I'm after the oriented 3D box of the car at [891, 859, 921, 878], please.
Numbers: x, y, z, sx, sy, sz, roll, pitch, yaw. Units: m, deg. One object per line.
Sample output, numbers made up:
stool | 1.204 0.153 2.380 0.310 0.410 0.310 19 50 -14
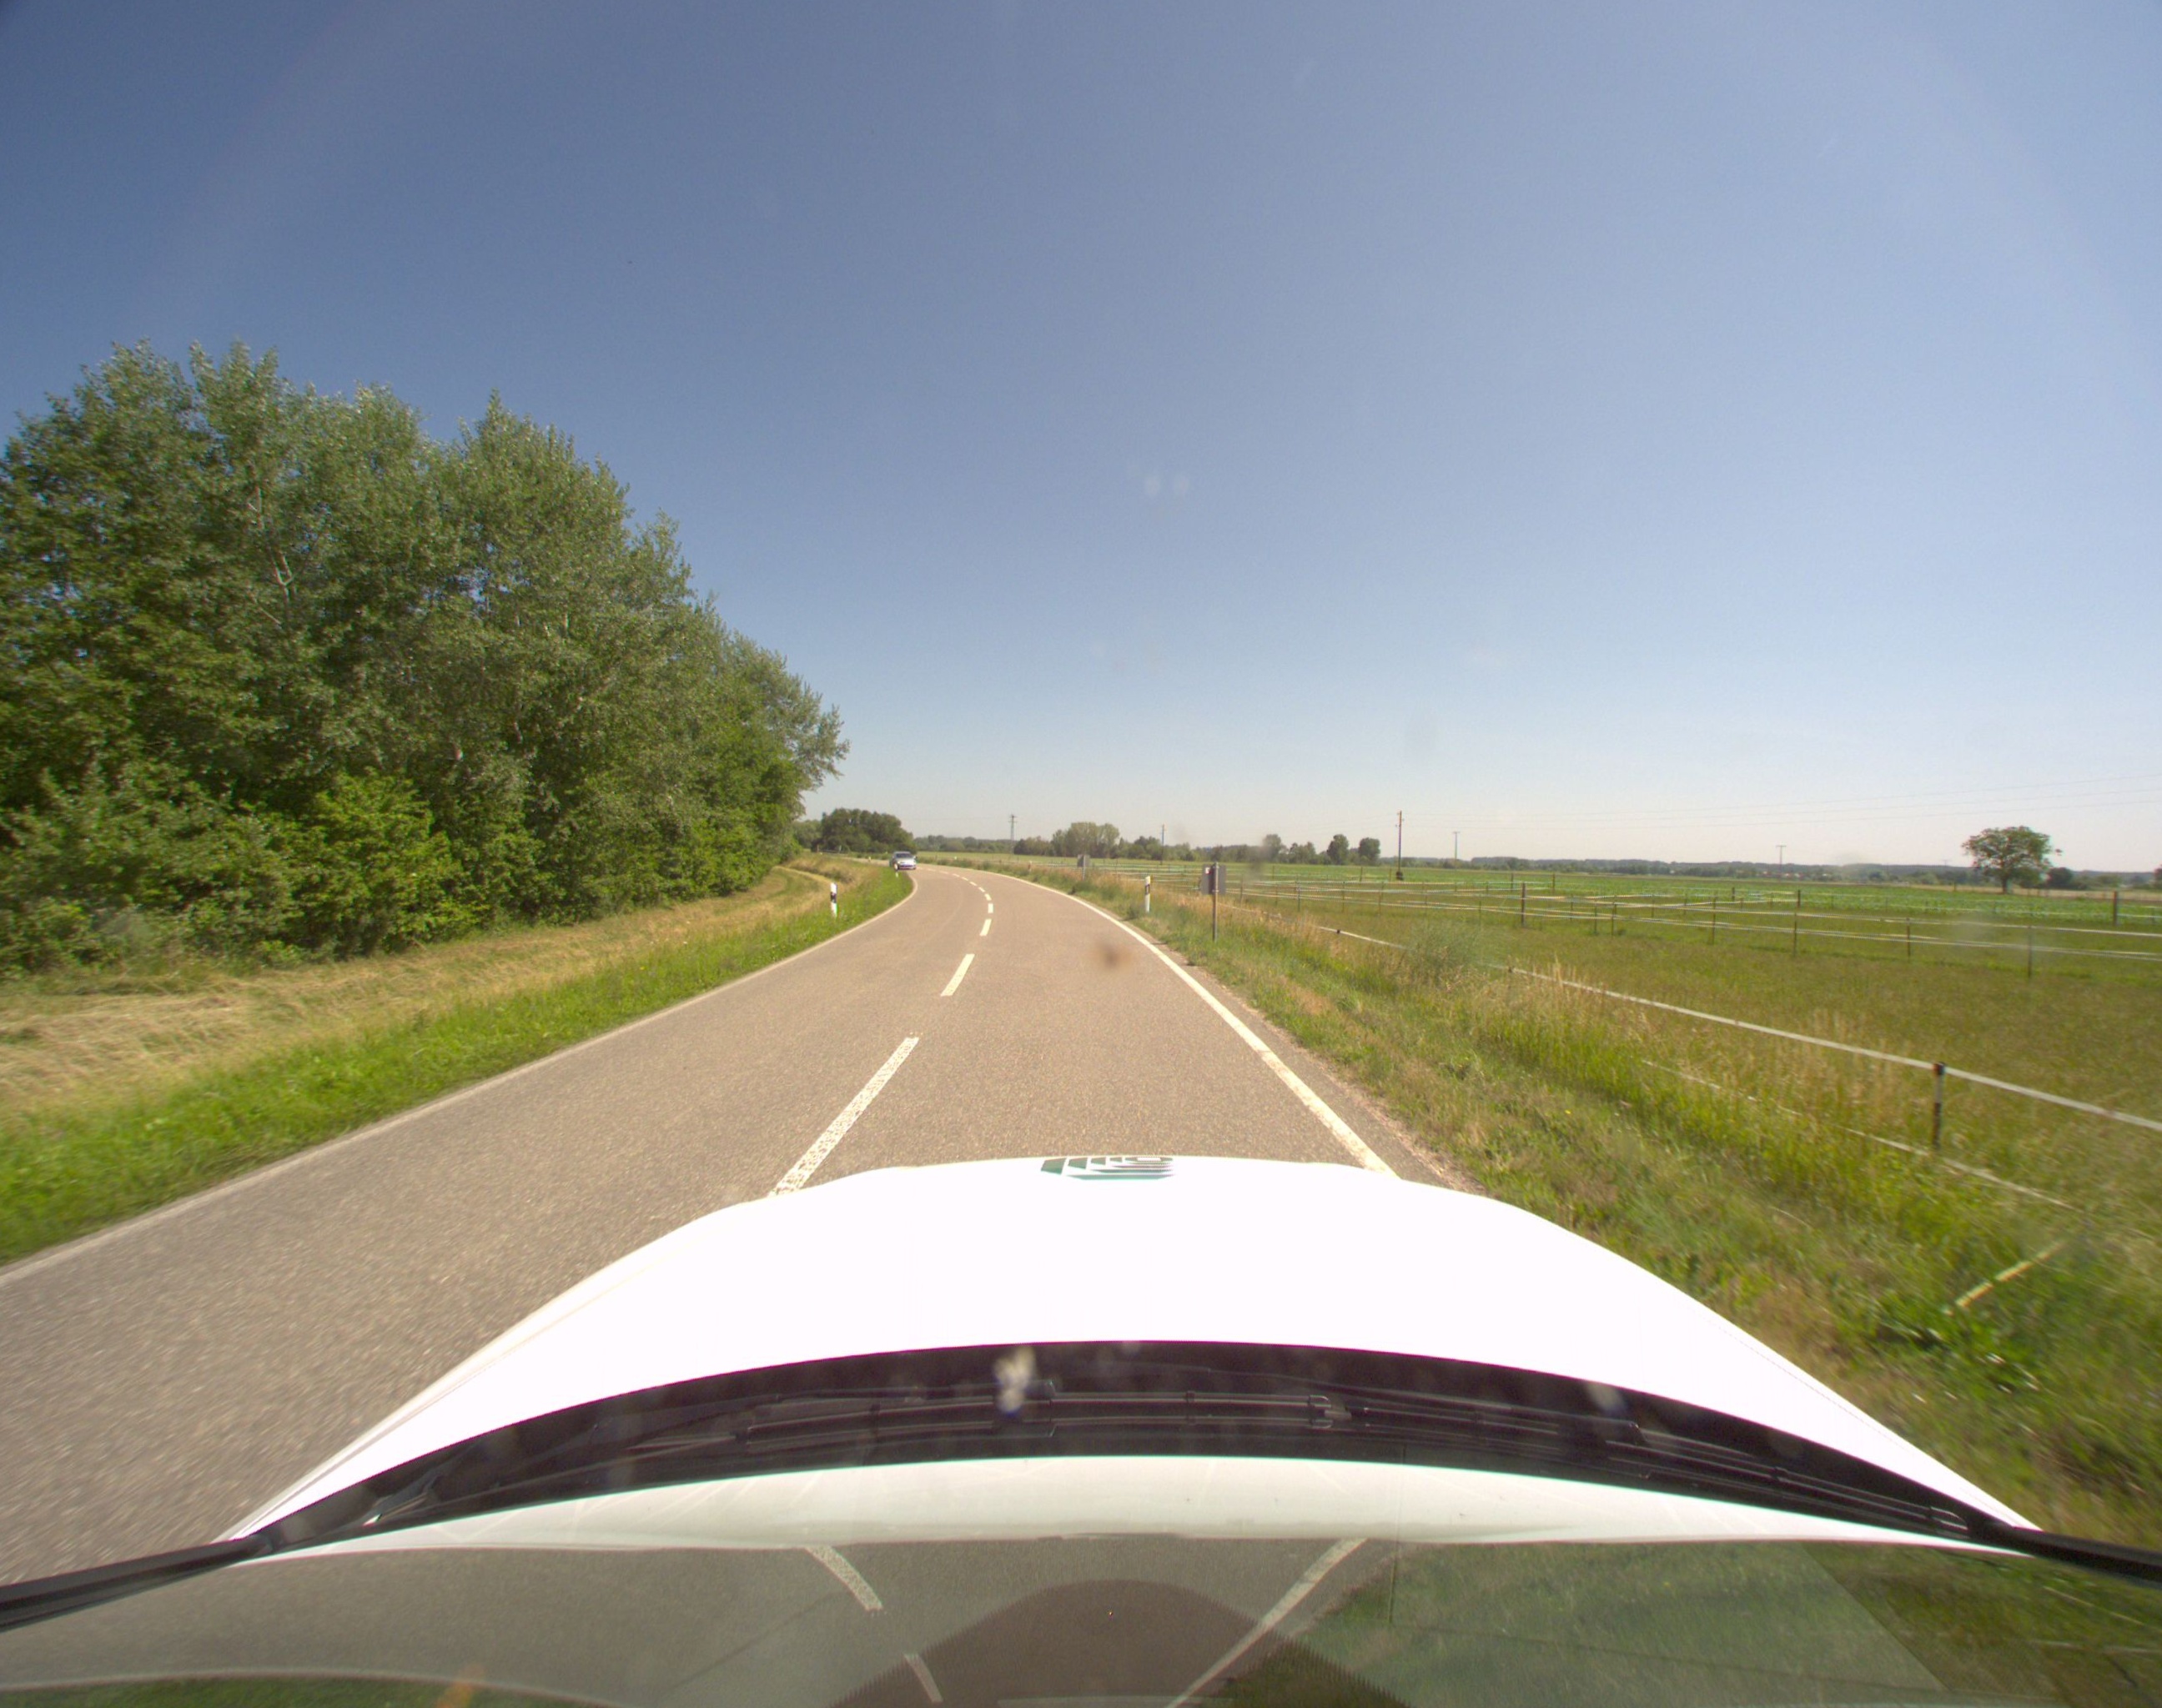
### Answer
car | -14.368 1.178 66.665 1.790 1.427 4.032 -2 0 -20
